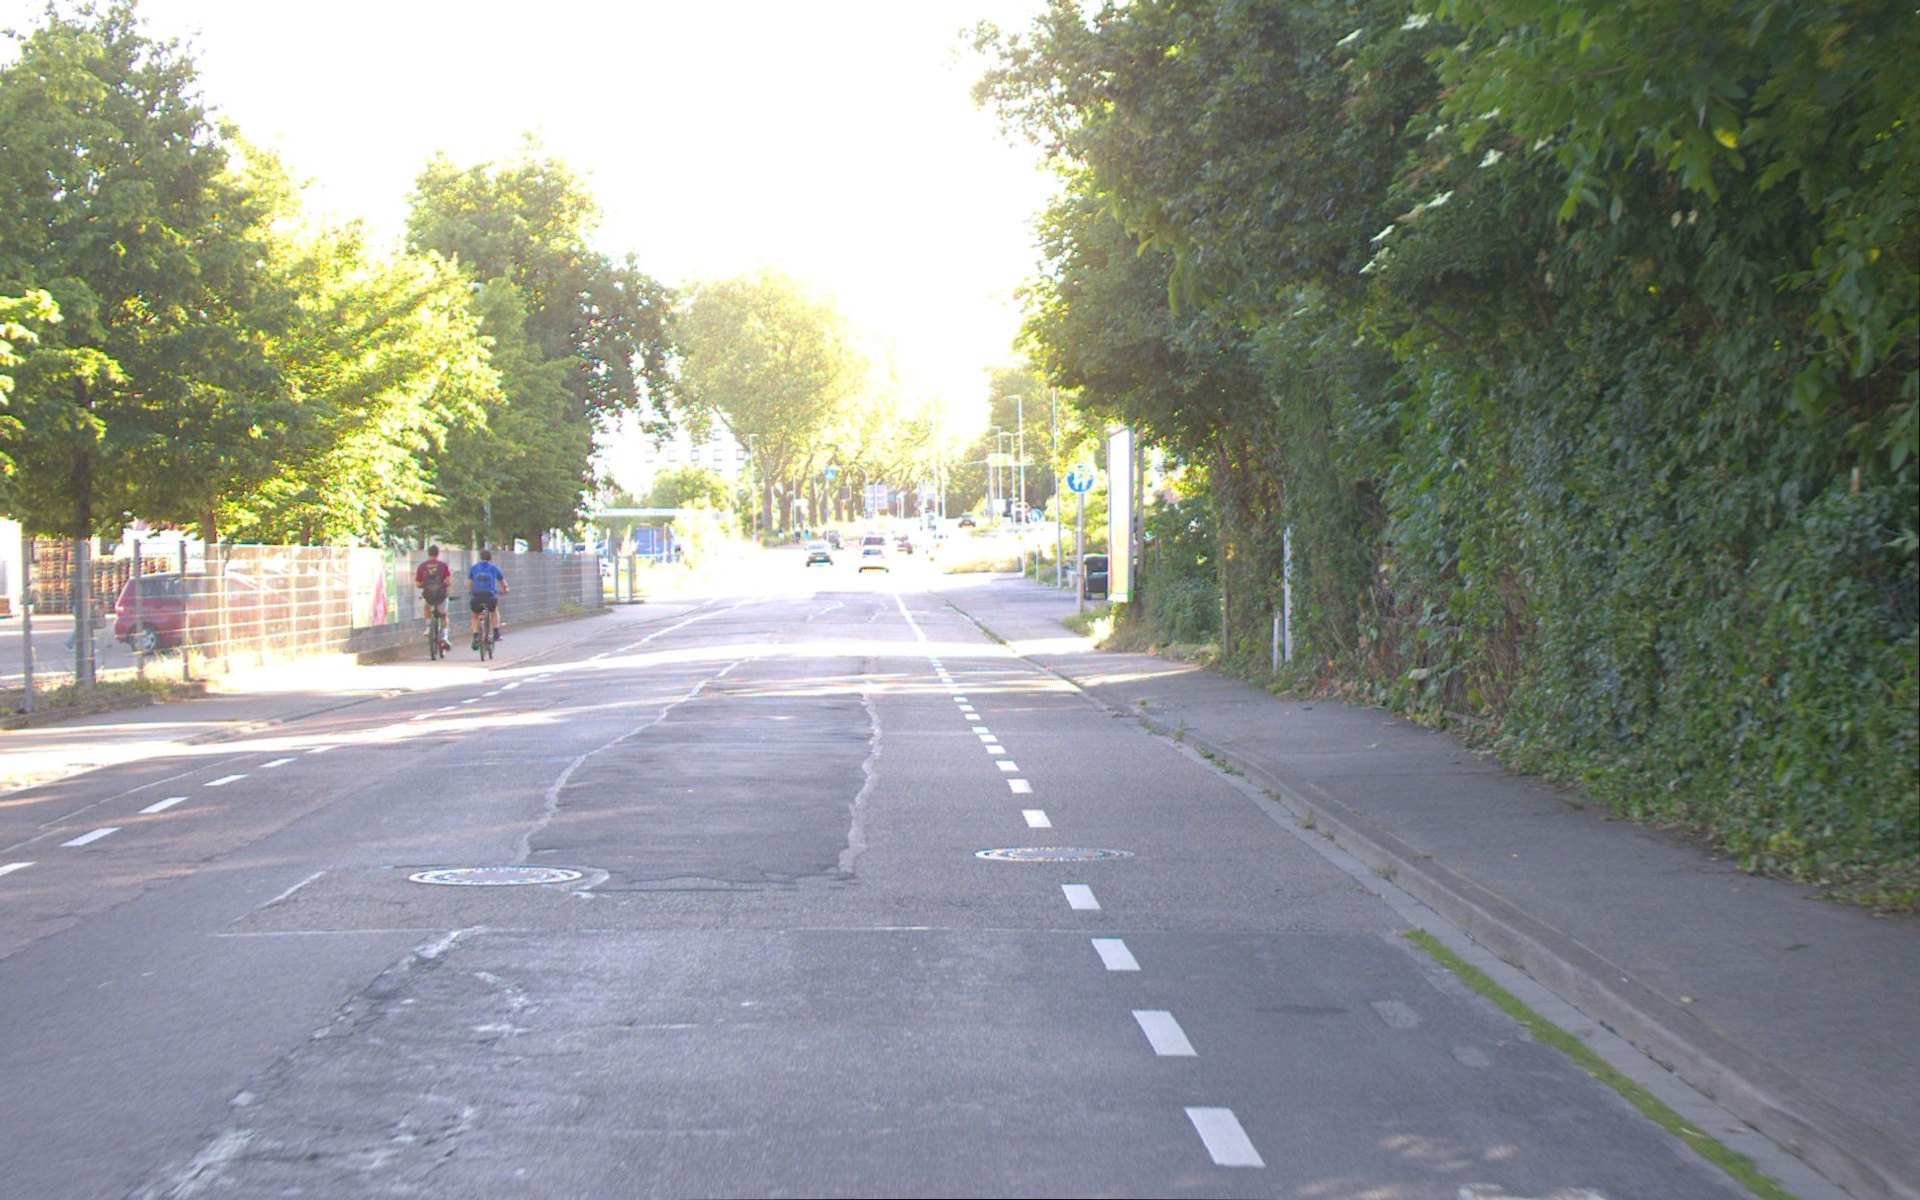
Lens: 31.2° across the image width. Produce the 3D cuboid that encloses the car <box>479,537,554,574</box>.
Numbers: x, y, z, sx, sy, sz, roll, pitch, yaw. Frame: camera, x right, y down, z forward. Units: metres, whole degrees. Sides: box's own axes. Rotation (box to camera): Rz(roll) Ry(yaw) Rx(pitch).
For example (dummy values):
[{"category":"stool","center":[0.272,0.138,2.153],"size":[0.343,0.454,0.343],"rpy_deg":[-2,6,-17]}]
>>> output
[{"category":"car","center":[-30.835,-3.098,239.137],"size":[4.926,2.451,2.320],"rpy_deg":[-1,1,-2]}]

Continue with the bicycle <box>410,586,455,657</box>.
[{"category":"bicycle","center":[-8.650,0.343,56.429],"size":[0.470,1.144,1.869],"rpy_deg":[1,0,-2]}]

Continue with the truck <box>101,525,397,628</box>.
[{"category":"truck","center":[-25.493,-0.835,123.547],"size":[10.097,3.602,2.776],"rpy_deg":[0,0,-2]}]

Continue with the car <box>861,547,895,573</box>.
[{"category":"car","center":[-4.568,-2.227,191.572],"size":[1.790,1.415,4.000],"rpy_deg":[0,1,0]}]

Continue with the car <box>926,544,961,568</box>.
[{"category":"car","center":[-1.235,-3.199,249.092],"size":[2.163,1.678,4.001],"rpy_deg":[-1,1,-6]}]

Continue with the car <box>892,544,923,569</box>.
[{"category":"car","center":[-3.757,-3.086,243.670],"size":[2.163,1.678,4.000],"rpy_deg":[-1,1,-1]}]

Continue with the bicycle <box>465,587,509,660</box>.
[{"category":"bicycle","center":[-7.741,0.377,56.320],"size":[0.446,1.144,2.201],"rpy_deg":[1,0,-2]}]

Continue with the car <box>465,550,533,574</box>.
[{"category":"car","center":[-31.043,-2.558,231.561],"size":[4.321,1.612,1.878],"rpy_deg":[-1,1,-2]}]

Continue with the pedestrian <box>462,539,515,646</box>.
[{"category":"pedestrian","center":[-7.725,-0.126,56.369],"size":[0.721,1.715,1.057],"rpy_deg":[-1,0,-1]}]

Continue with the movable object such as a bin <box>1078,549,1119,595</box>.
[{"category":"movable object such as a bin","center":[4.153,-0.843,103.049],"size":[1.128,1.367,1.345],"rpy_deg":[-1,1,-2]}]

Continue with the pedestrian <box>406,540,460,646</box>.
[{"category":"pedestrian","center":[-8.655,-0.118,56.486],"size":[0.721,1.715,1.057],"rpy_deg":[-1,0,-1]}]

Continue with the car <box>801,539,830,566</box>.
[{"category":"car","center":[-9.037,-2.964,215.214],"size":[1.740,1.521,4.112],"rpy_deg":[-4,1,-2]}]
